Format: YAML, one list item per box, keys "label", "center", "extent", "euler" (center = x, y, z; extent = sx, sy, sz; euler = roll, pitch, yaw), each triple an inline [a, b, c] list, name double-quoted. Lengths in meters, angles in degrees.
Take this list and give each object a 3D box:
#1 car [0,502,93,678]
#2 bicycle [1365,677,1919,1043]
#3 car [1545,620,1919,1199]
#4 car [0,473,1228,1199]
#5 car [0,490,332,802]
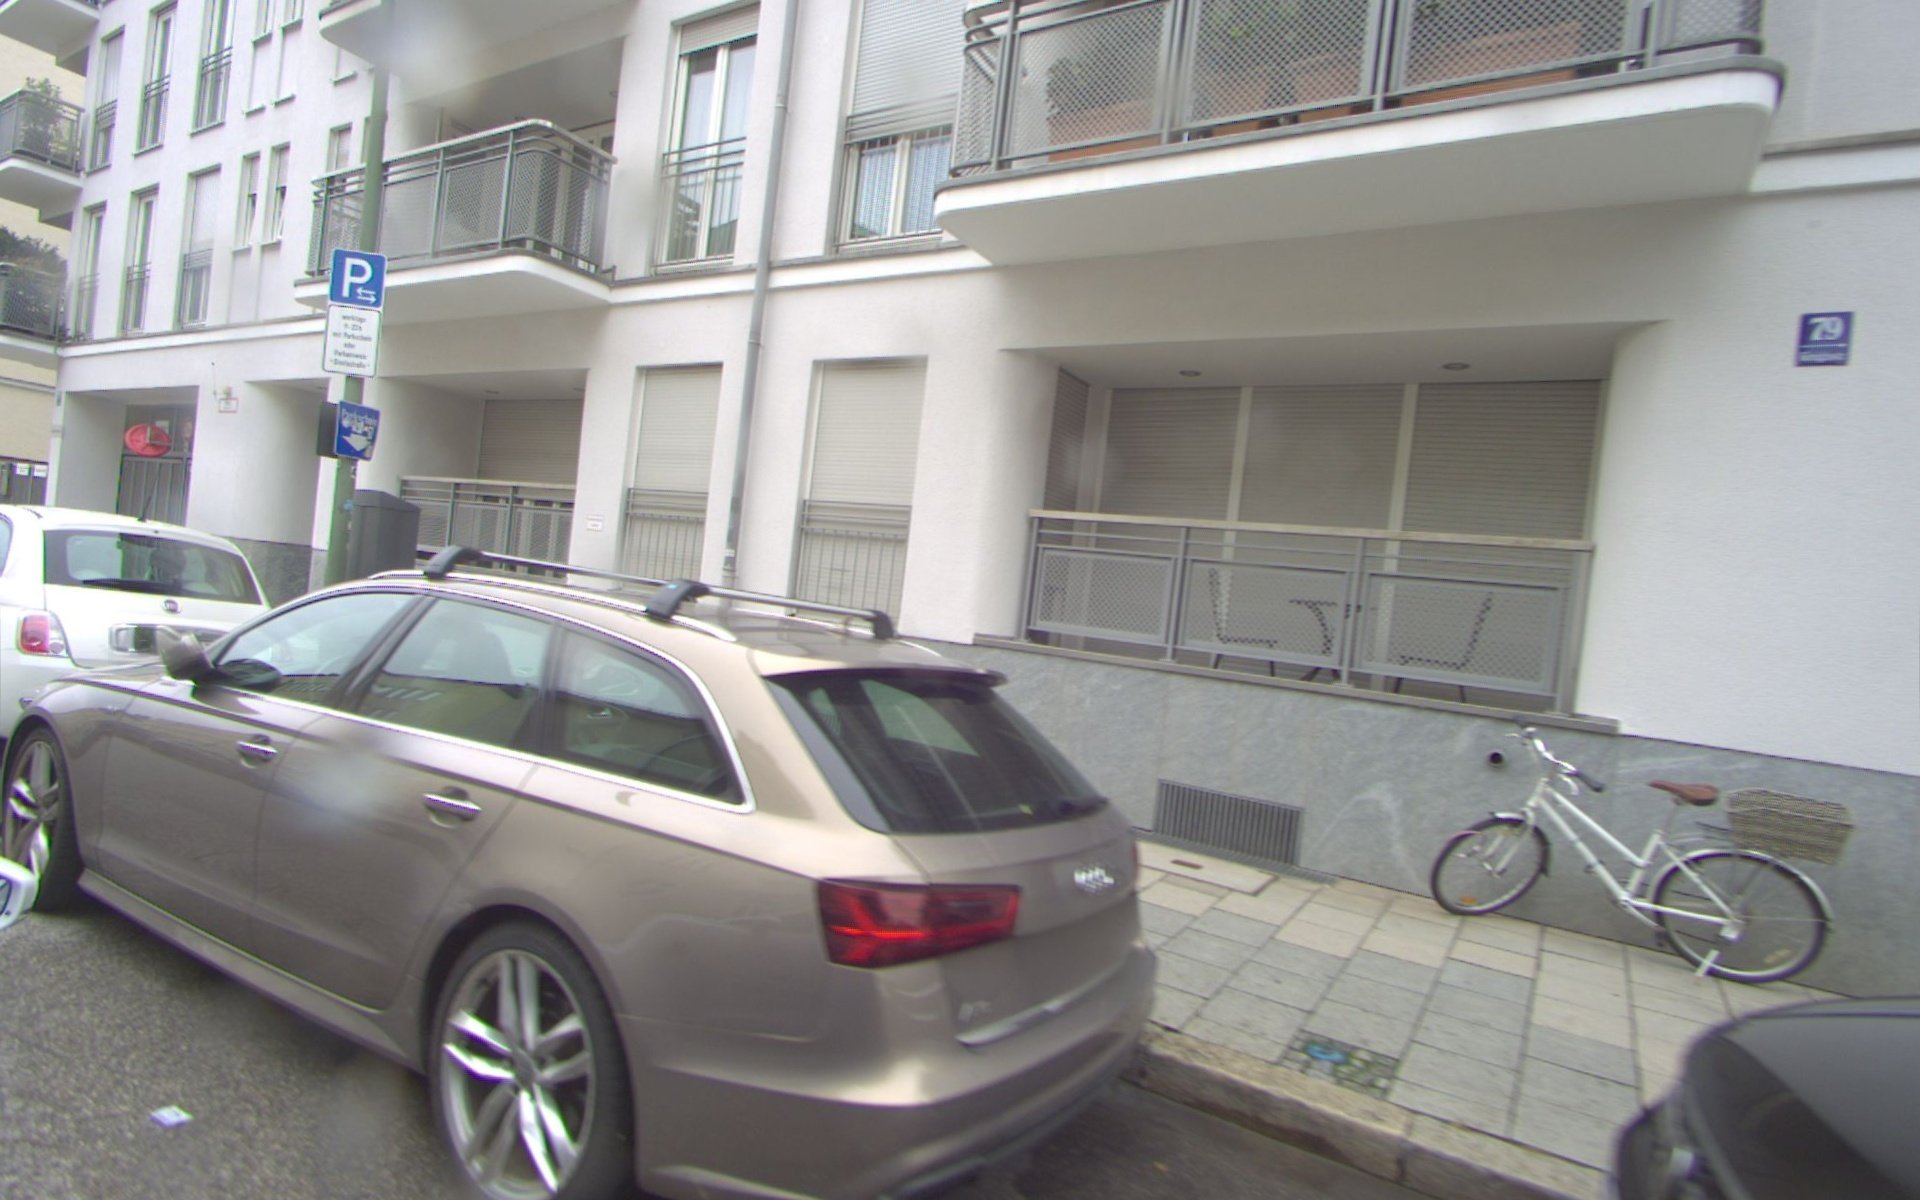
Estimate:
- label: "car"
  center: [-9.683, -0.290, 8.862]
  extent: [4.009, 1.425, 1.766]
  euler: [6, 0, 29]
- label: "bicycle"
  center: [3.155, 1.098, 4.799]
  extent: [2.091, 1.175, 0.628]
  euler: [7, 1, 30]
- label: "car"
  center: [2.789, 1.073, 0.794]
  extent: [3.917, 1.548, 1.607]
  euler: [7, -2, 31]
- label: "car"
  center: [-1.619, 0.576, 3.583]
  extent: [4.544, 1.548, 1.738]
  euler: [7, -2, 31]
- label: "car"
  center: [-5.848, 0.131, 6.497]
  extent: [3.467, 1.548, 1.522]
  euler: [7, -1, 31]
